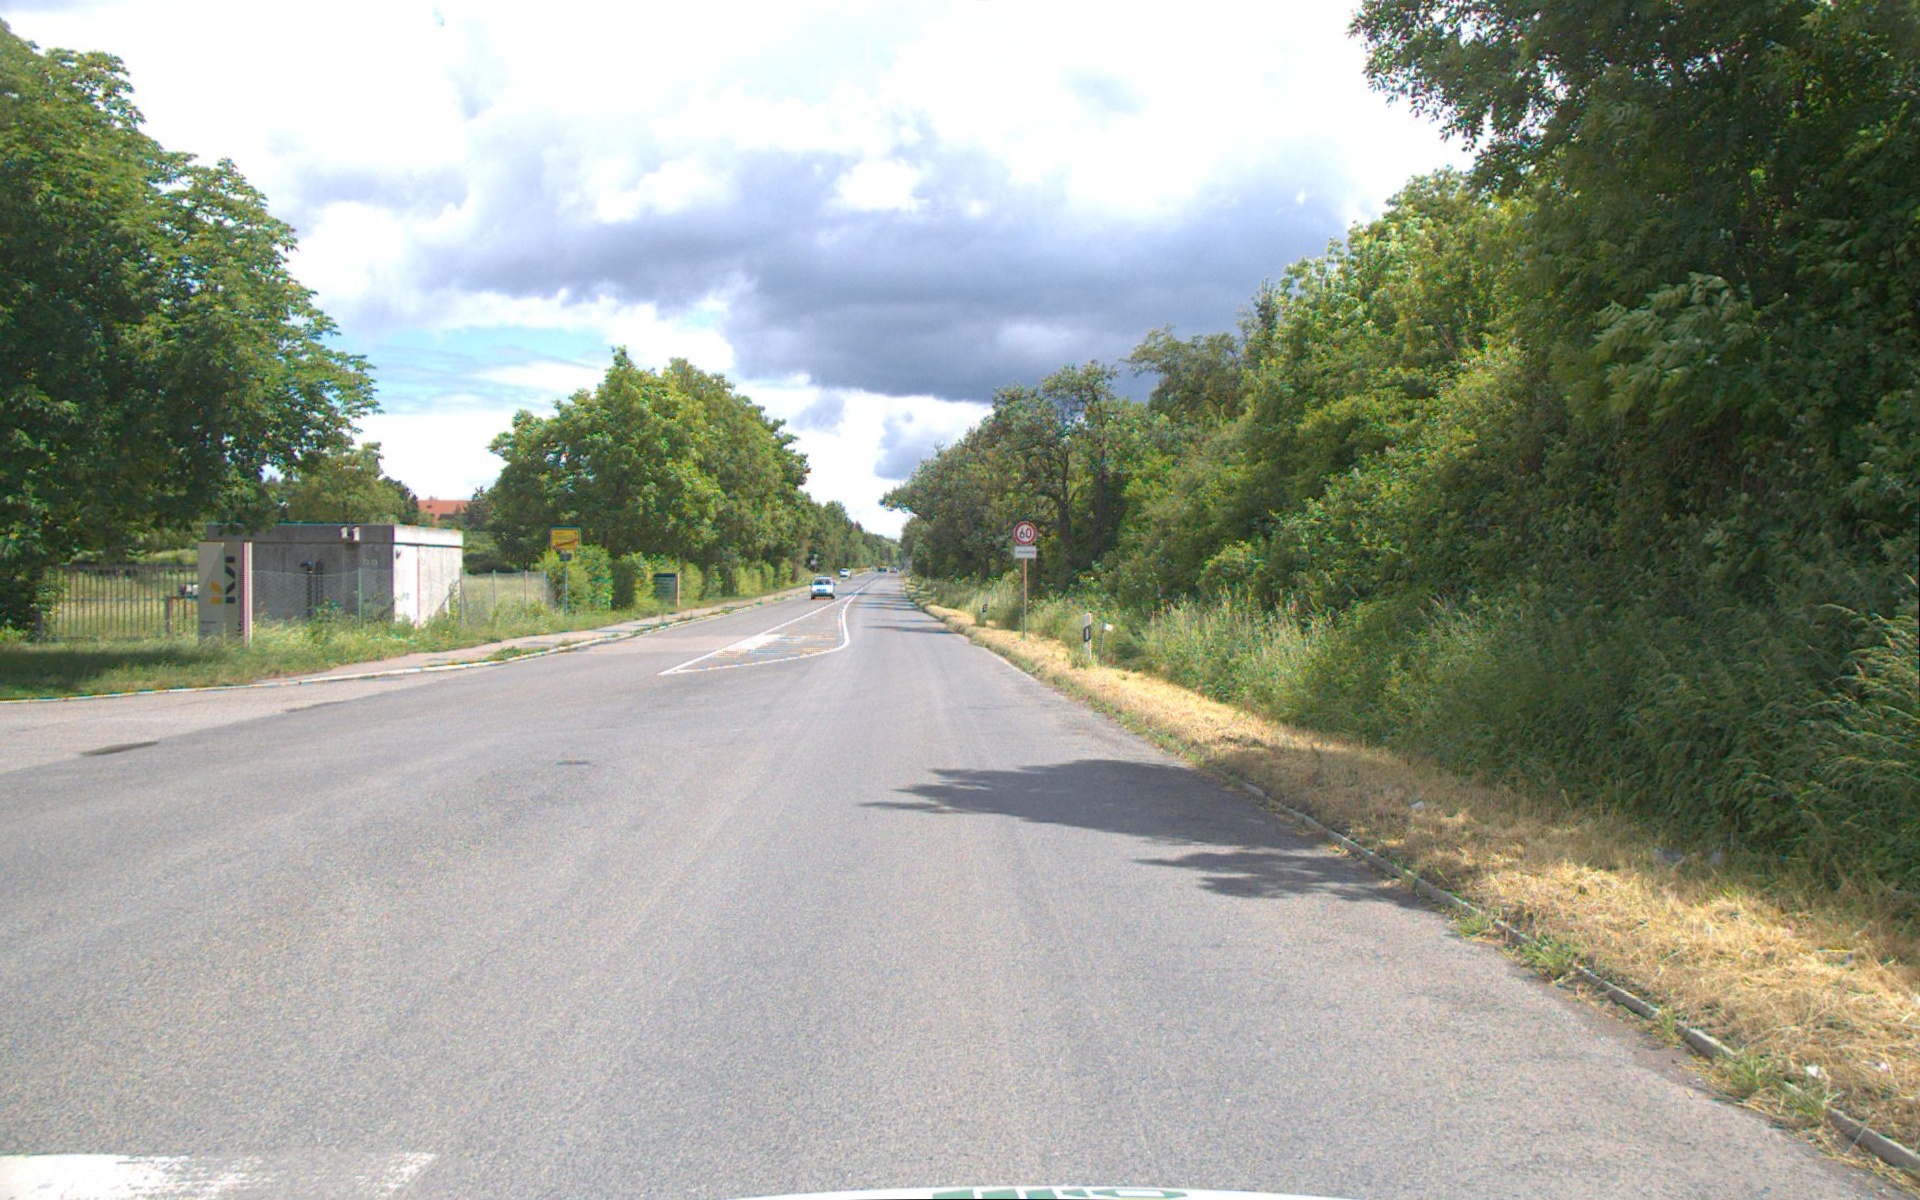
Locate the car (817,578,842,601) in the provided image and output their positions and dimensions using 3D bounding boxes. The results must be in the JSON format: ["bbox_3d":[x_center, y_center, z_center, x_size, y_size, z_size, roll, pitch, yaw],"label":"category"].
[{"bbox_3d":[-8.824,-0.745,111.707,1.628,1.457,3.690,-1,1,-4],"label":"car"}]
